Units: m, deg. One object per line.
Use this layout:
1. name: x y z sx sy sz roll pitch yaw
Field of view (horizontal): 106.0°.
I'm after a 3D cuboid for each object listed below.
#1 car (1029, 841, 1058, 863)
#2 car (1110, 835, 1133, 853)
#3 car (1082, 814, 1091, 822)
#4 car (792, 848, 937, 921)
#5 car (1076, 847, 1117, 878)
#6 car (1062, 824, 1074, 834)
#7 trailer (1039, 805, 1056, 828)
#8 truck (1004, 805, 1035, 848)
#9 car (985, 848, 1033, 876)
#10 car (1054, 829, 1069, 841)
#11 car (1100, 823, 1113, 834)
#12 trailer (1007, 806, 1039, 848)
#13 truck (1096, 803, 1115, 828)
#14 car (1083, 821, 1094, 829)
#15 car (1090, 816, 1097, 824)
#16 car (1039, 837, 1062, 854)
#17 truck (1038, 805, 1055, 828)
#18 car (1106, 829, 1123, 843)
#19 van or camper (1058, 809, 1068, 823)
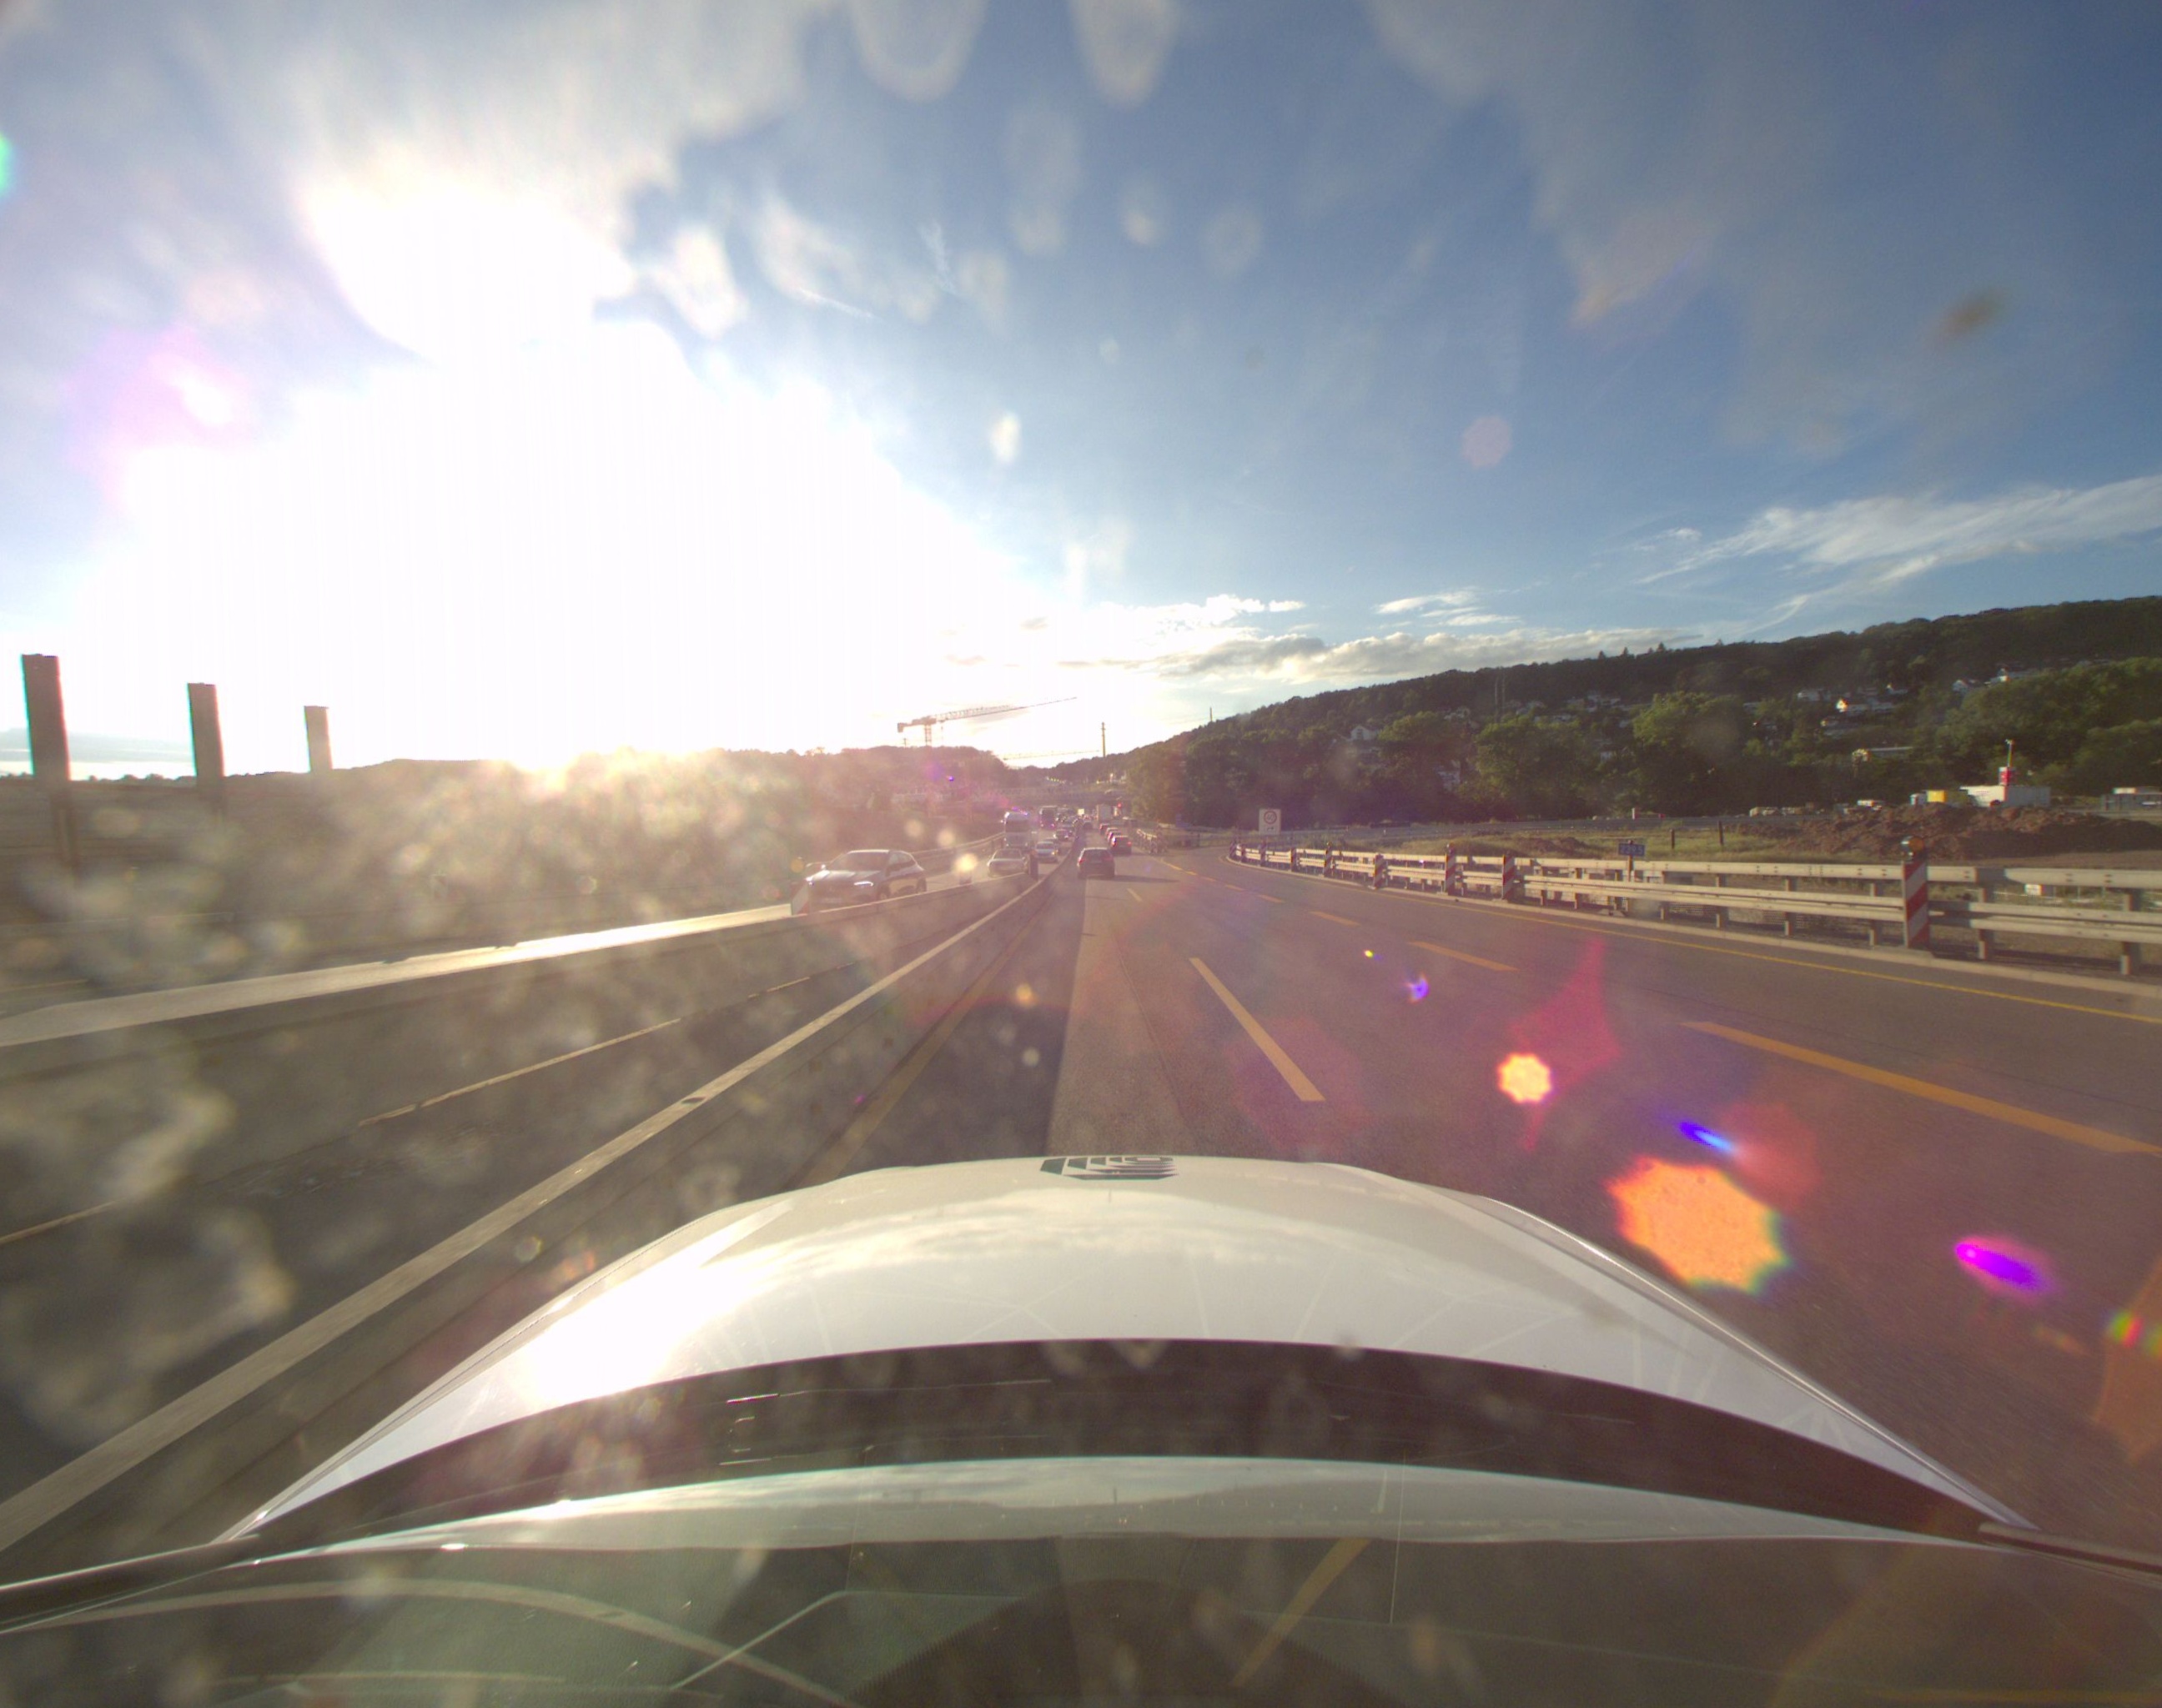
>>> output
1. car: -2.685 -0.154 59.528 1.782 1.488 4.221 0 0 2
2. car: 3.618 -0.907 73.761 1.807 1.615 4.524 0 0 -1
3. car: 1.196 -8.053 183.890 1.916 1.552 4.000 -1 0 1
4. car: -5.254 0.657 20.547 1.779 1.619 4.885 0 0 8
5. car: 0.695 0.355 39.039 1.765 1.390 3.998 -1 1 -1
6. car: -1.971 -3.780 122.348 1.710 1.409 4.328 -1 2 0
7. trailer: -6.168 -7.069 152.251 2.765 4.030 13.681 -1 3 -1
8. truck: -6.128 -2.711 81.971 2.544 4.220 6.050 0 1 0
9. car: -3.639 0.381 42.102 1.781 1.357 4.640 0 0 4
10. car: -2.526 -2.515 107.216 1.830 1.409 4.496 -1 2 0
11. car: 3.779 -3.823 122.184 1.809 1.632 4.411 -1 3 0
12. trailer: -6.132 -2.830 88.091 2.523 4.213 13.933 0 1 0
13. truck: 4.846 -7.831 163.808 3.374 4.496 15.276 0 5 1
14. car: 1.331 -5.095 143.985 1.856 1.420 4.001 -1 2 1
15. car: 3.315 -9.128 218.737 1.916 1.552 3.999 1 -3 1
16. car: -2.806 -0.776 76.184 1.843 1.483 4.512 -2 1 1
17. truck: -6.099 -6.698 145.527 2.761 4.080 5.775 -1 3 -1
18. car: 4.311 -2.358 105.796 1.870 1.599 4.965 -1 2 -1
19. van or camper: -4.541 -9.754 209.177 2.450 3.497 7.415 -1 4 0
